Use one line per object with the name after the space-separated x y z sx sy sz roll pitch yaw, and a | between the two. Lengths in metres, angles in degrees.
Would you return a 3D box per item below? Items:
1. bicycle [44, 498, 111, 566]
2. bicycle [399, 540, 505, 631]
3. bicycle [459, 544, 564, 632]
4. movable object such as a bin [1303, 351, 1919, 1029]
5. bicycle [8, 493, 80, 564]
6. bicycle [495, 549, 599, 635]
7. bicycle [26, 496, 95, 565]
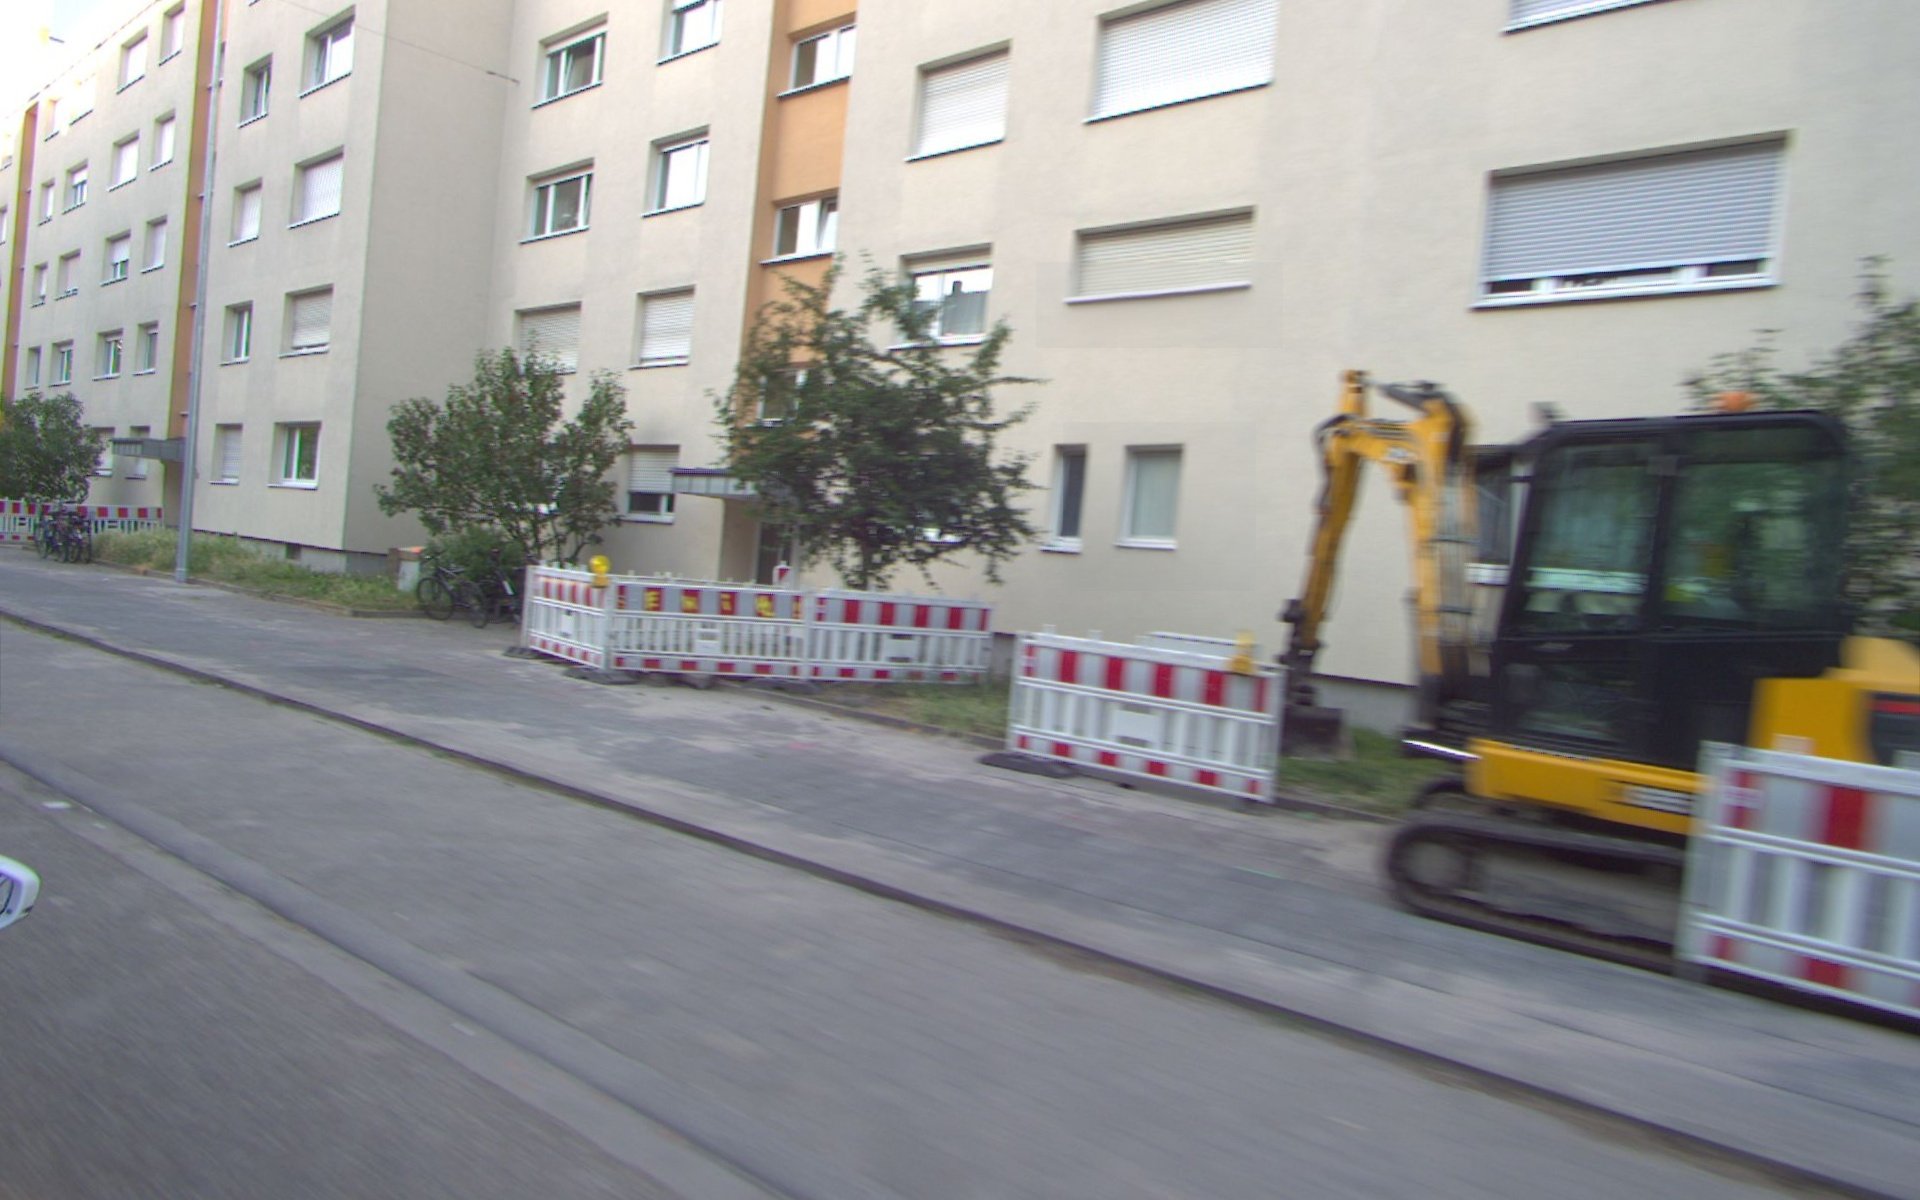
-17.919 -1.386 20.406 1.795 1.237 0.398 7 1 30 | bicycle
-7.674 -0.236 15.161 1.788 1.187 0.556 7 1 35 | bicycle
-6.961 -0.197 15.573 1.788 1.187 0.556 7 1 35 | bicycle
3.715 0.330 5.399 2.847 2.727 1.932 7 1 36 | movable object such as a bin
-18.172 -1.425 19.945 1.879 1.237 0.452 7 1 30 | bicycle
-6.610 -0.135 16.059 1.788 1.187 0.556 7 1 35 | bicycle
-18.105 -1.411 20.227 1.879 1.237 0.398 7 1 30 | bicycle
